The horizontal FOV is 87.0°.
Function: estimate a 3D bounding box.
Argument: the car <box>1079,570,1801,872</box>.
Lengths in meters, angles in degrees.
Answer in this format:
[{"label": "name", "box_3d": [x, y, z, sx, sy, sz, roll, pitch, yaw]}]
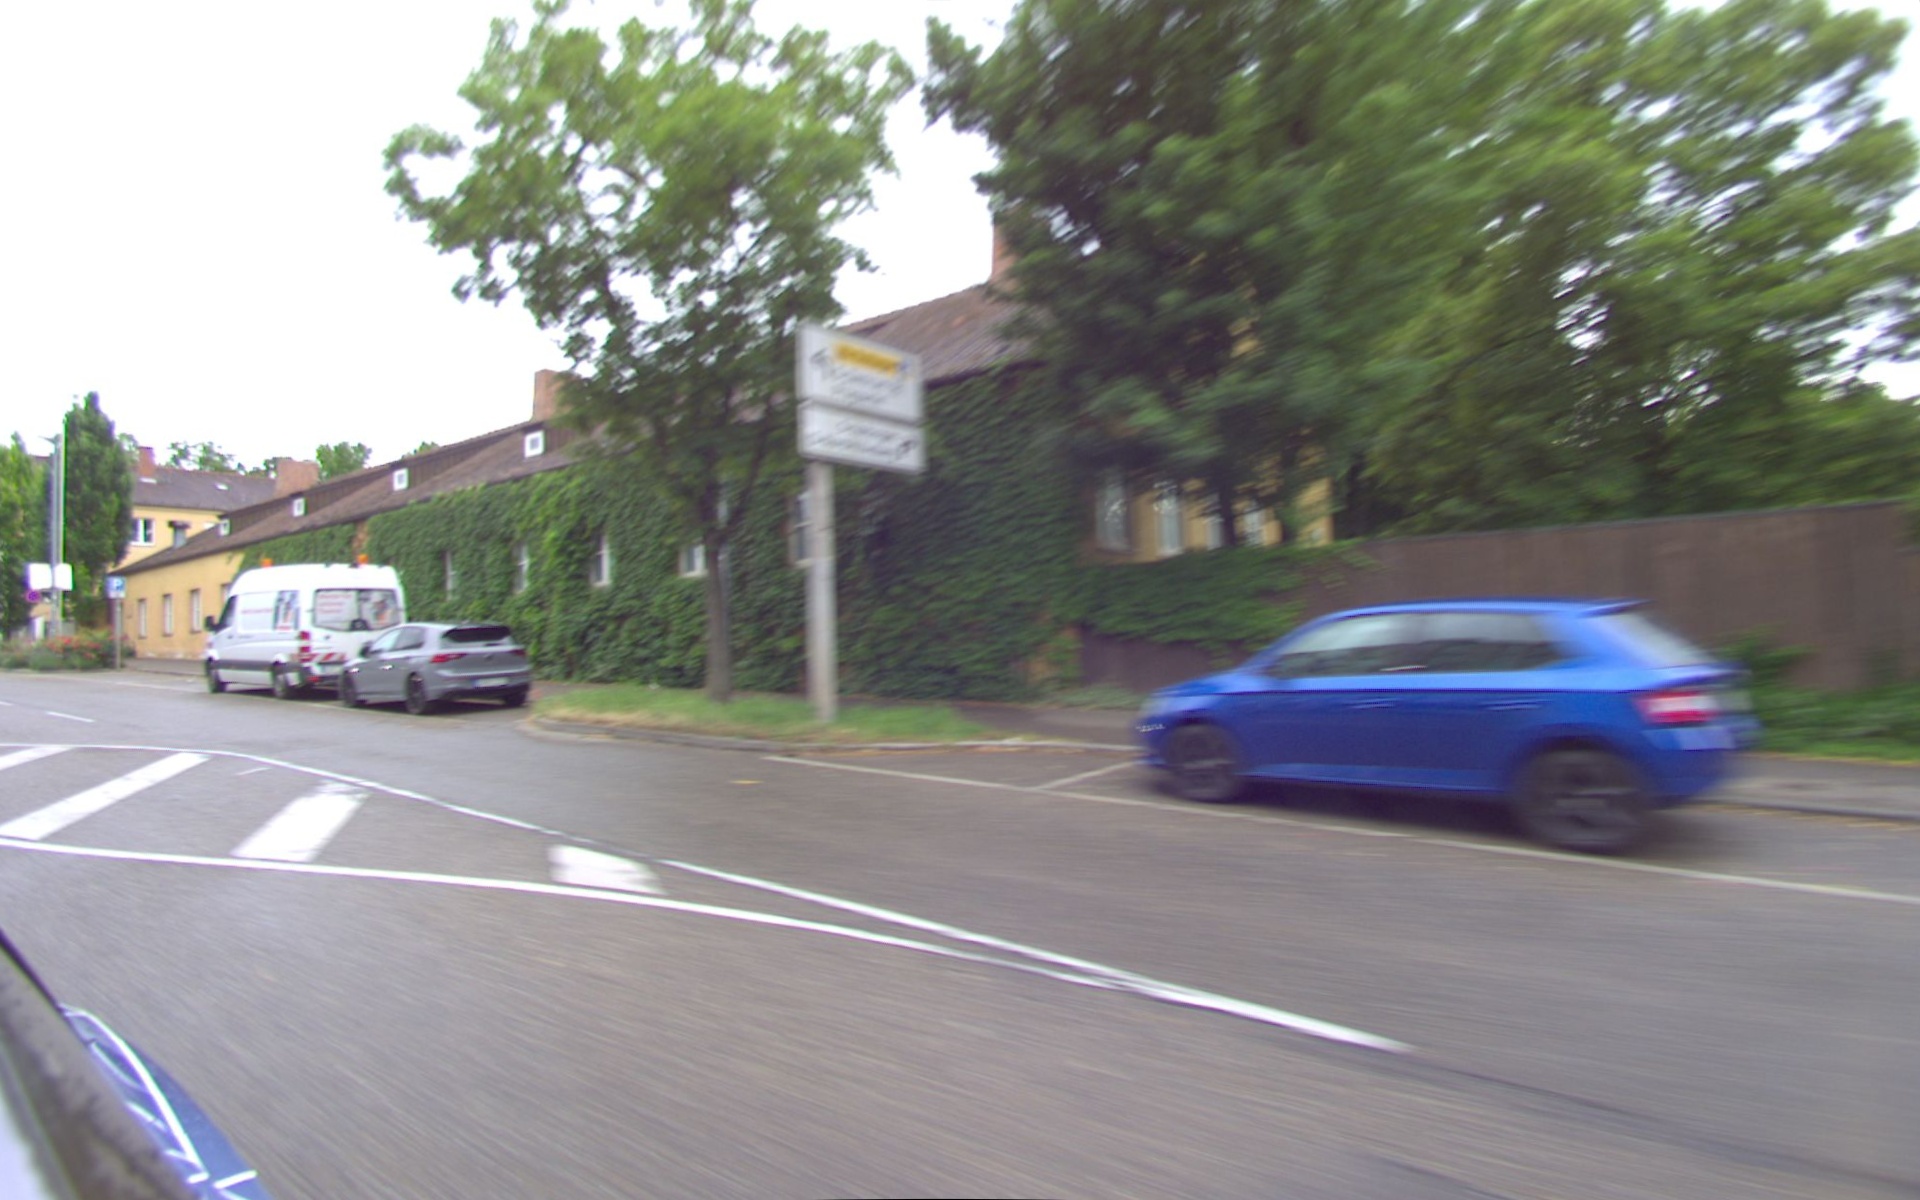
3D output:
[{"label": "car", "box_3d": [3.123, 0.612, 7.115, 4.185, 1.481, 1.972, -1, 0, 43]}]

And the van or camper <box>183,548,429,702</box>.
[{"label": "van or camper", "box_3d": [-13.742, 0.534, 21.084, 6.131, 2.786, 2.319, -2, -1, 37]}]

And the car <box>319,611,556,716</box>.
[{"label": "car", "box_3d": [-8.988, 0.990, 17.268, 4.417, 1.524, 1.974, -1, 0, 39]}]
